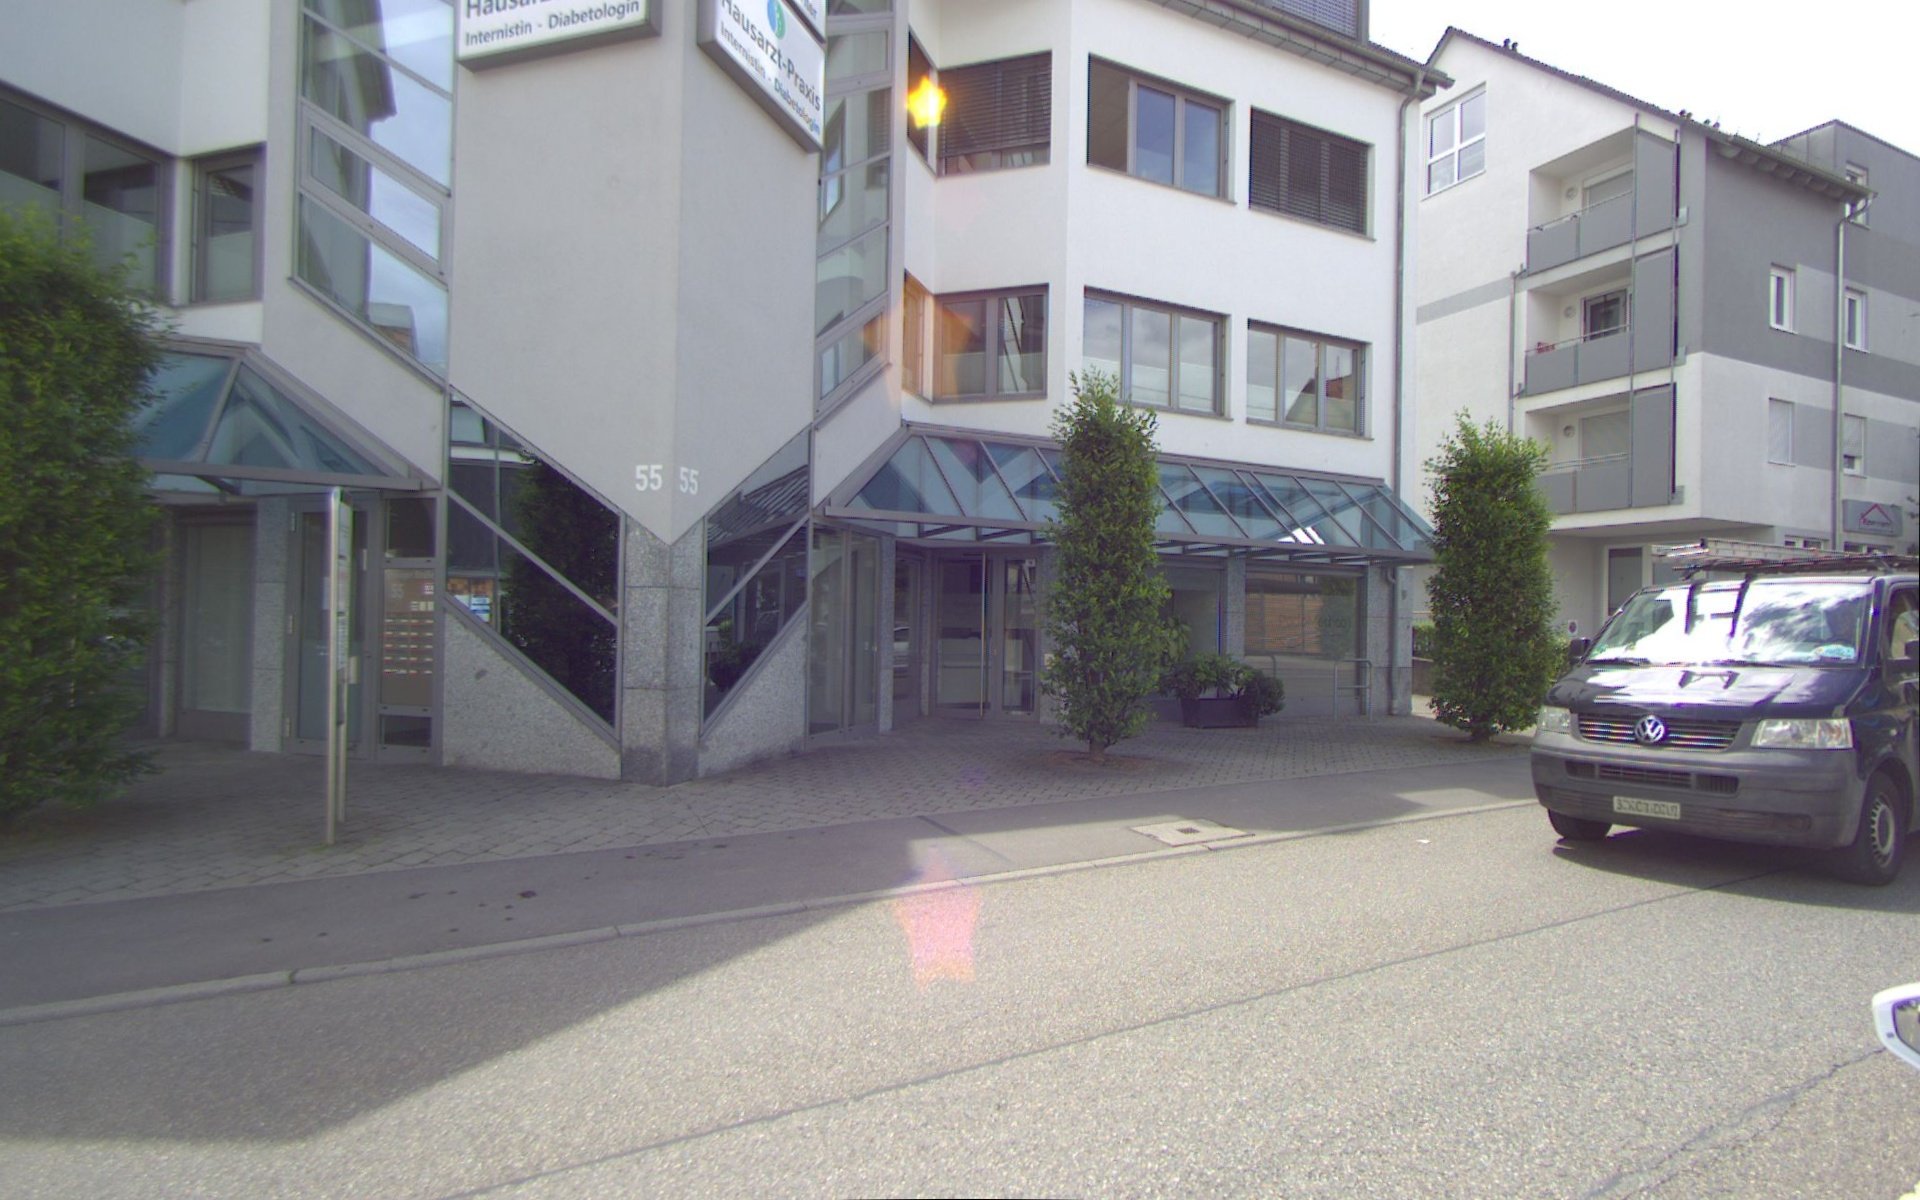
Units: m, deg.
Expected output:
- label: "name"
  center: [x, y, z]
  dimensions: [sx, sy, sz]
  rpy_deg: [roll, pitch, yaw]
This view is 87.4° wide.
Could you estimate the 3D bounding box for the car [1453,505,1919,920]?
- label: "car"
  center: [6.077, 0.662, 7.480]
  dimensions: [4.829, 2.180, 2.100]
  rpy_deg: [1, -2, -32]
